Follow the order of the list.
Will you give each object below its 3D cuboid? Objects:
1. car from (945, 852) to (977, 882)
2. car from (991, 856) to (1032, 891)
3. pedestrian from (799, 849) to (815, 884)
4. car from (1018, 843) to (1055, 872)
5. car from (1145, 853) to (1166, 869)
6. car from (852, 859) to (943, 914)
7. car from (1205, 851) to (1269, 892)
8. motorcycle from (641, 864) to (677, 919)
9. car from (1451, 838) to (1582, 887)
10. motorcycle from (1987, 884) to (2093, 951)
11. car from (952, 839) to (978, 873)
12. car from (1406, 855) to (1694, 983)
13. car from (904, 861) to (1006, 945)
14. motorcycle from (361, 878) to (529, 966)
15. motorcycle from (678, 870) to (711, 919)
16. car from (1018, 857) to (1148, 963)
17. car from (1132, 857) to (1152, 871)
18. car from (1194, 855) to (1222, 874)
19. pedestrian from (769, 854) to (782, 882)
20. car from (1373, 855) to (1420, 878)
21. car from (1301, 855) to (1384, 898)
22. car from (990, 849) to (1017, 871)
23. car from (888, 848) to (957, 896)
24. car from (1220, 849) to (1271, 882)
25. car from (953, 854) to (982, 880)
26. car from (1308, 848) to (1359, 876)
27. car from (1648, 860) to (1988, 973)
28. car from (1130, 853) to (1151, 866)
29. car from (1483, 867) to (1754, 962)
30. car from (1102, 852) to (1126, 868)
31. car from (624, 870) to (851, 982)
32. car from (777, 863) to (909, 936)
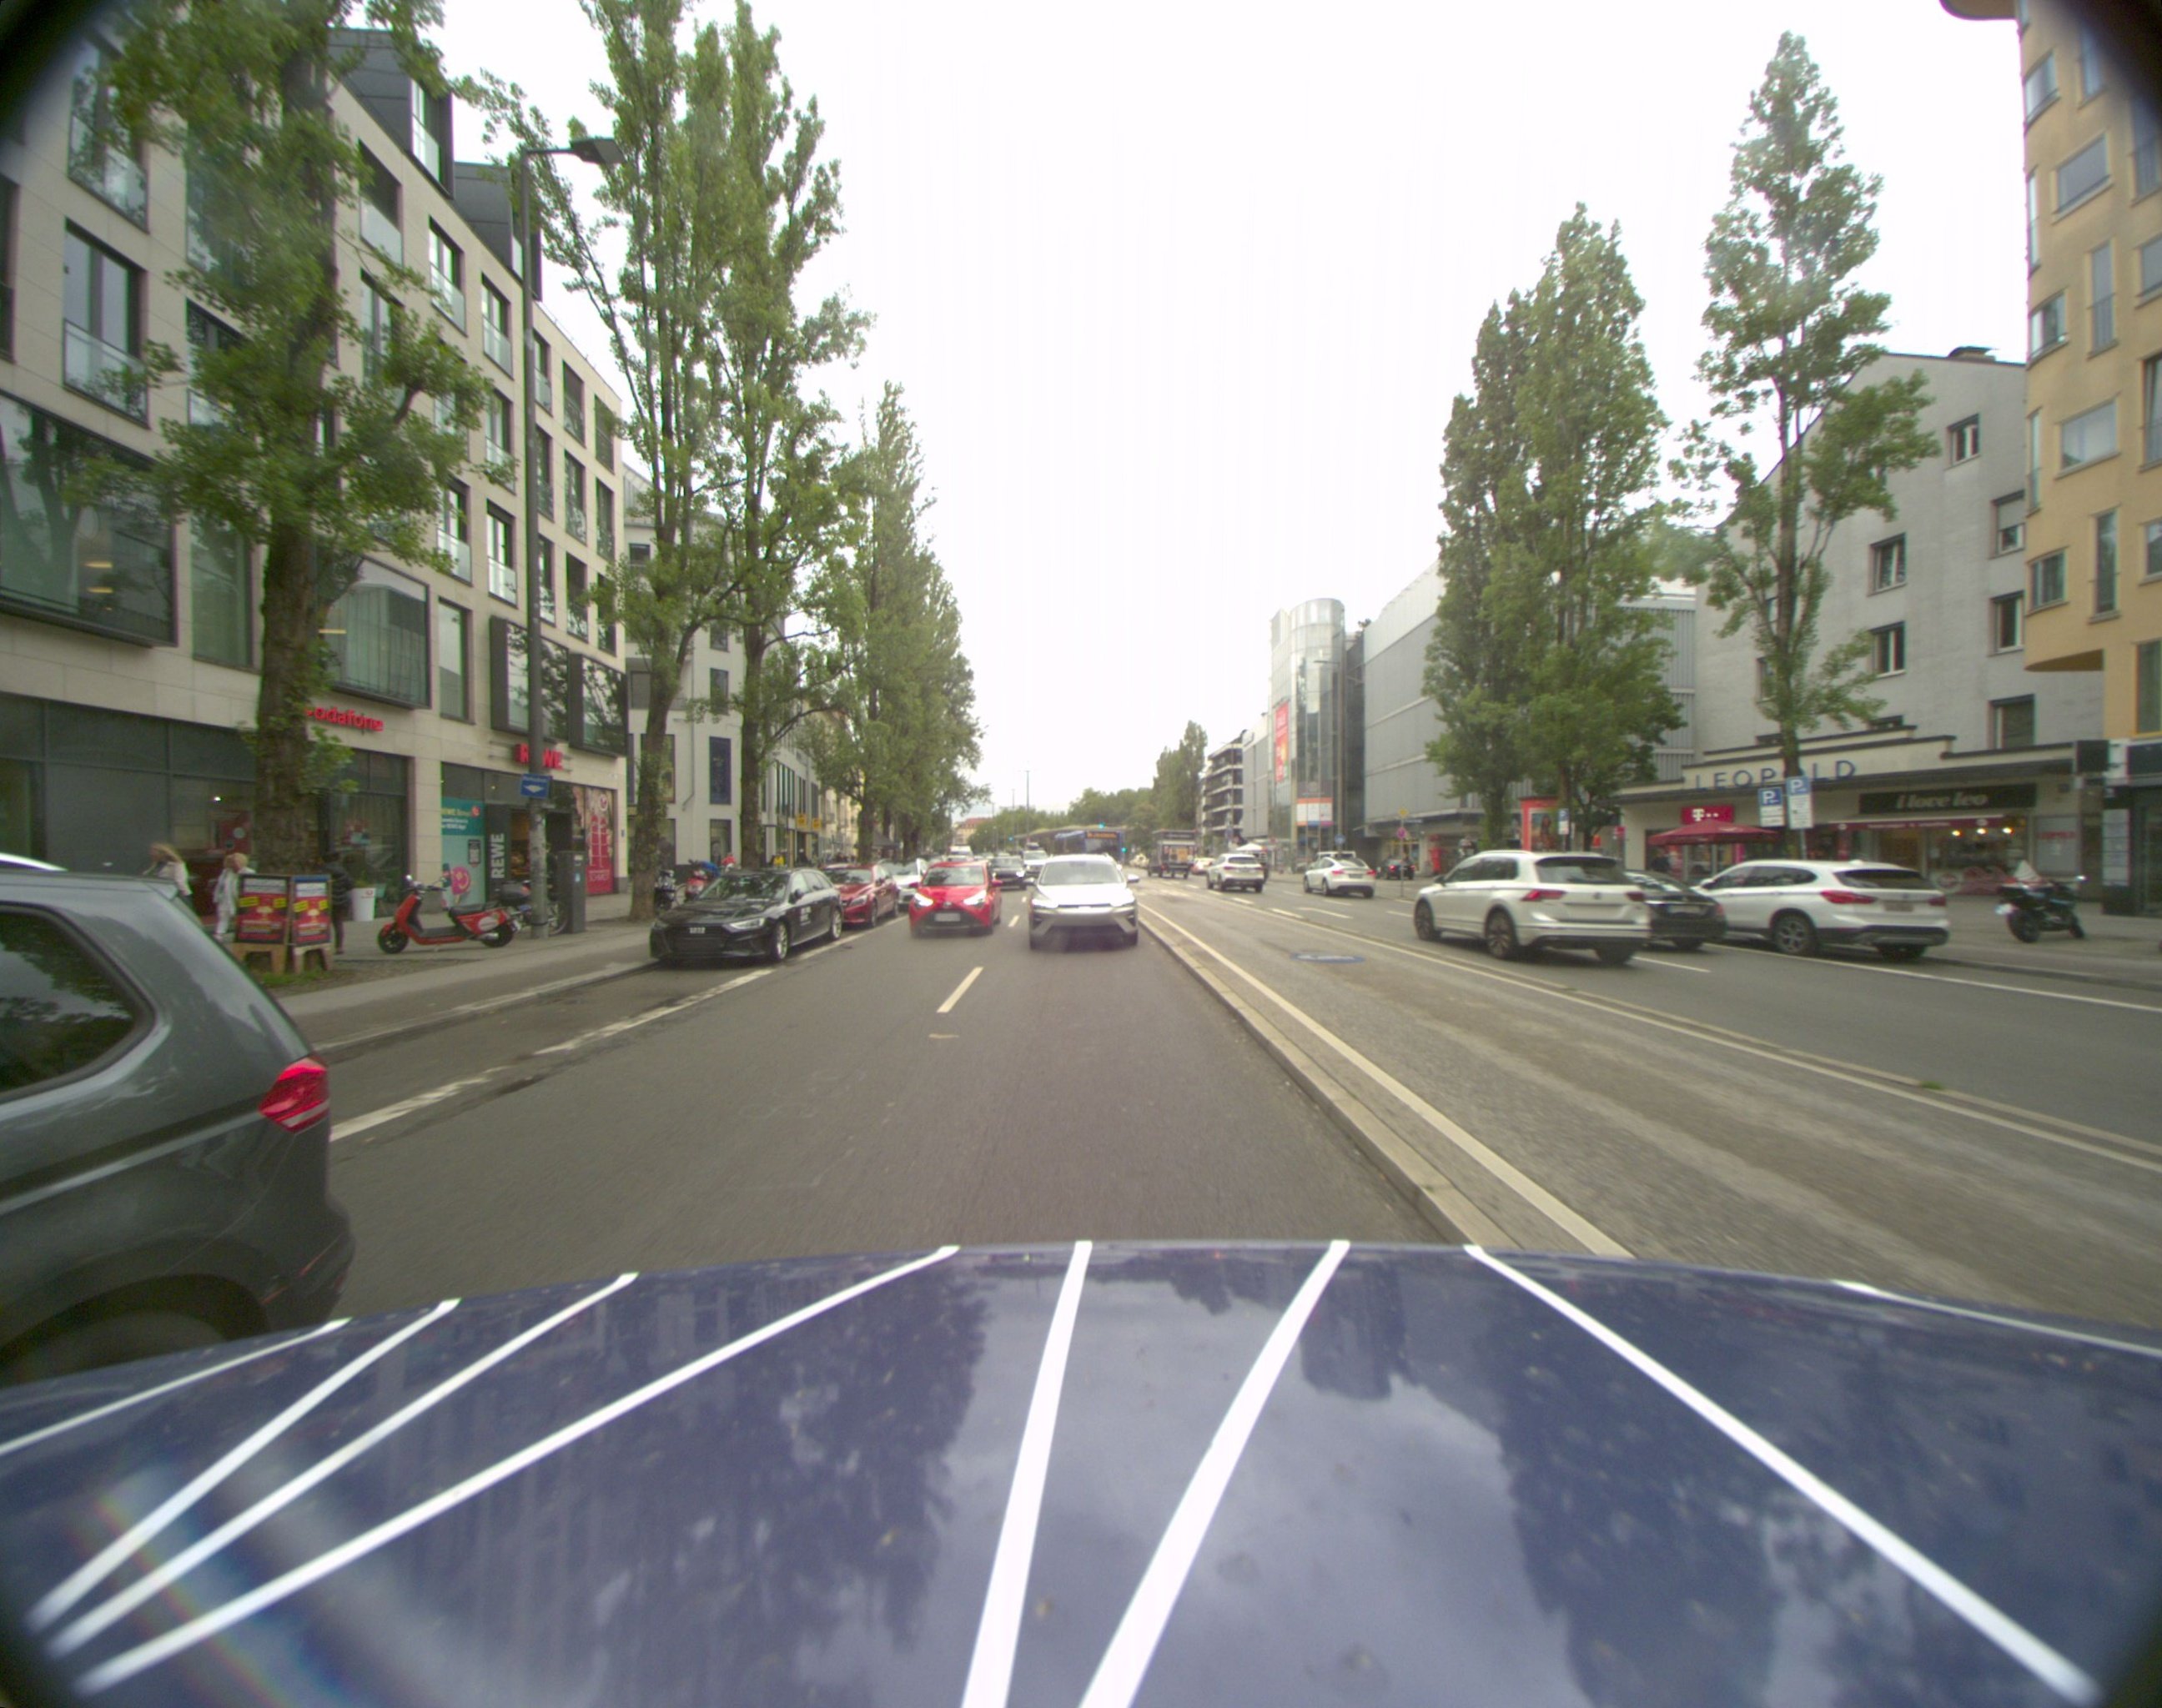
[{"bbox_3d":[-7.292,0.755,46.433,1.732,1.676,4.405,-1,1,-7],"label":"car"},{"bbox_3d":[-3.170,0.838,34.892,1.740,1.462,4.048,-1,0,-4],"label":"car"},{"bbox_3d":[-15.393,0.682,42.668,0.648,1.913,0.925,1,1,-6],"label":"pedestrian"},{"bbox_3d":[-3.117,0.208,52.869,2.000,1.889,4.231,-2,1,-11],"label":"car"},{"bbox_3d":[8.416,0.740,86.014,1.890,1.688,4.382,1,0,0],"label":"car"},{"bbox_3d":[-5.597,0.925,23.798,1.815,1.491,4.804,1,0,-2],"label":"car"},{"bbox_3d":[6.934,0.748,34.233,1.865,1.701,4.535,1,0,-1],"label":"car"},{"bbox_3d":[-10.930,0.936,19.716,0.688,1.348,1.640,0,1,-25],"label":"motorcycle"},{"bbox_3d":[23.940,0.451,41.919,6.061,2.590,2.176,0,1,-3],"label":"car"},{"bbox_3d":[17.114,1.115,13.553,2.064,1.030,0.485,-2,2,-18],"label":"motorcycle"},{"bbox_3d":[-10.053,0.118,65.868,2.000,2.726,5.549,-2,1,-9],"label":"car"},{"bbox_3d":[7.118,0.862,12.220,1.944,1.632,4.464,0,0,1],"label":"car"},{"bbox_3d":[-2.545,0.940,16.111,1.669,1.438,3.594,-2,1,-2],"label":"car"},{"bbox_3d":[-9.970,1.033,12.018,1.978,1.244,0.638,0,1,-34],"label":"motorcycle"},{"bbox_3d":[-9.915,1.018,19.541,0.688,1.149,1.640,0,1,-25],"label":"motorcycle"},{"bbox_3d":[-0.121,0.855,13.605,1.897,1.483,3.997,-2,1,-6],"label":"car"},{"bbox_3d":[7.342,1.182,91.945,1.951,1.532,4.846,0,0,-1],"label":"car"},{"bbox_3d":[10.490,0.807,63.127,1.861,1.461,4.984,2,0,4],"label":"car"},{"bbox_3d":[-17.532,0.785,43.642,0.566,1.567,0.675,0,1,-34],"label":"pedestrian"},{"bbox_3d":[21.329,0.829,51.497,1.925,1.430,4.510,1,0,9],"label":"car"},{"bbox_3d":[10.885,0.877,32.026,1.998,1.641,4.636,1,0,2],"label":"car"},{"bbox_3d":[-6.789,0.524,66.042,2.000,1.740,3.996,-2,1,-10],"label":"car"},{"bbox_3d":[-6.393,0.666,31.135,1.930,1.690,4.648,-2,1,-2],"label":"car"},{"bbox_3d":[10.089,0.636,47.084,1.998,1.853,5.711,2,0,1],"label":"car"},{"bbox_3d":[-8.462,0.917,56.898,1.935,1.794,4.776,-2,1,-6],"label":"car"},{"bbox_3d":[18.669,0.573,56.365,1.999,2.002,5.111,0,0,-1],"label":"car"},{"bbox_3d":[12.718,0.962,13.631,1.998,1.620,4.382,1,0,4],"label":"car"},{"bbox_3d":[7.773,0.716,99.067,1.592,1.602,4.472,0,0,-11],"label":"car"},{"bbox_3d":[9.863,1.011,14.506,1.944,1.426,4.538,0,0,0],"label":"car"},{"bbox_3d":[3.429,0.573,80.002,1.999,1.579,5.193,1,0,-4],"label":"car"},{"bbox_3d":[-5.416,1.038,12.729,1.852,1.420,4.424,0,0,-1],"label":"car"},{"bbox_3d":[-5.531,0.984,18.318,1.936,1.441,4.802,0,0,-4],"label":"car"}]
